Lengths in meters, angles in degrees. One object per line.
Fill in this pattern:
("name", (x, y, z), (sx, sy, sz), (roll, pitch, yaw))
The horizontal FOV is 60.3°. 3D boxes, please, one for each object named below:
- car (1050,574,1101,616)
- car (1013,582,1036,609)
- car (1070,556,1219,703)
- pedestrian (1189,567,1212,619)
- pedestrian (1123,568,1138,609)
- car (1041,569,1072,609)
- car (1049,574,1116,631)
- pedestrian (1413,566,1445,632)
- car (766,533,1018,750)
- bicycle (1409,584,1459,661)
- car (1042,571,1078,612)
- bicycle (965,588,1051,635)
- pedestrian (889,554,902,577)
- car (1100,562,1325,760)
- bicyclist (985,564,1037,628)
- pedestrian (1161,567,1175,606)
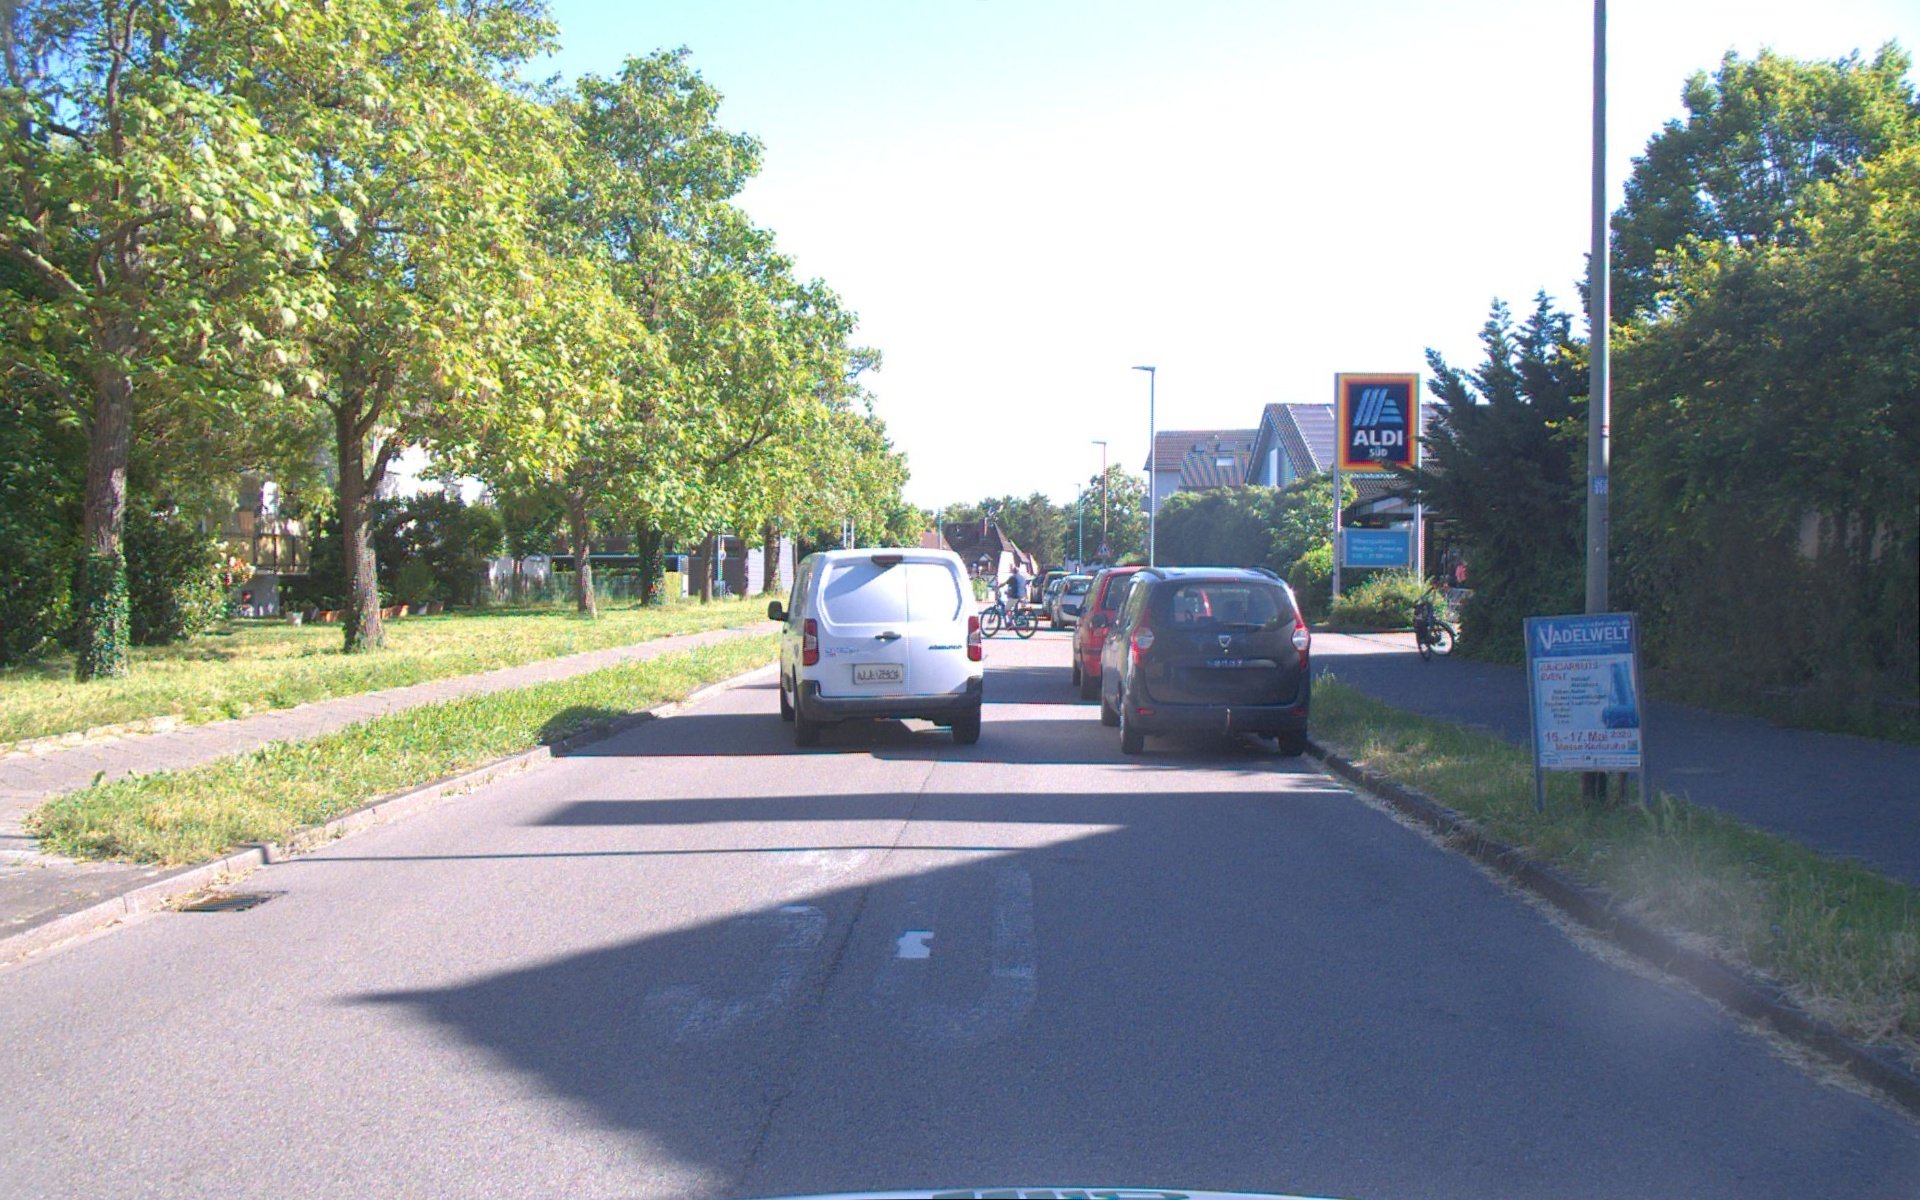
("car", (4.240, -0.214, 61.365), (1.770, 1.468, 4.365), (0, 1, 2))
("car", (5.144, -0.340, 131.809), (1.767, 2.105, 4.000), (0, 0, 1))
("car", (2.463, 0.334, 23.012), (1.801, 1.837, 4.656), (0, 1, 3))
("pedestrian", (8.489, -0.258, 58.270), (0.781, 1.813, 0.809), (0, 1, 10))
("pedestrian", (6.881, -0.464, 66.759), (0.555, 1.665, 0.547), (0, 1, 7))
("car", (6.550, -0.715, 112.679), (1.828, 2.607, 4.768), (1, 0, 1))
("car", (3.649, 0.057, 49.777), (1.645, 1.627, 4.027), (0, 0, -1))
("pedestrian", (11.895, -0.030, 41.944), (0.677, 1.660, 0.776), (0, 1, 23))
("car", (-0.840, 0.329, 16.904), (1.958, 1.914, 4.277), (0, 1, -11))
("bicycle", (8.024, 0.367, 27.972), (0.705, 1.242, 1.897), (-2, -1, 18))
("car", (4.747, -0.396, 78.805), (1.688, 1.869, 4.002), (0, 0, 3))
("bicycle", (1.203, 0.292, 41.936), (2.240, 1.158, 0.784), (-1, 0, 43))
("pedestrian", (-4.170, -2.213, 107.018), (0.501, 1.471, 0.637), (3, 1, 35))
("car", (2.335, 0.490, 16.288), (1.689, 1.685, 4.354), (0, 1, 2))
("bicyclist", (1.291, -0.102, 41.964), (0.949, 1.612, 0.903), (0, -1, 42))
("pedestrian", (8.787, -0.579, 69.843), (0.555, 1.665, 0.547), (0, 1, 7))
